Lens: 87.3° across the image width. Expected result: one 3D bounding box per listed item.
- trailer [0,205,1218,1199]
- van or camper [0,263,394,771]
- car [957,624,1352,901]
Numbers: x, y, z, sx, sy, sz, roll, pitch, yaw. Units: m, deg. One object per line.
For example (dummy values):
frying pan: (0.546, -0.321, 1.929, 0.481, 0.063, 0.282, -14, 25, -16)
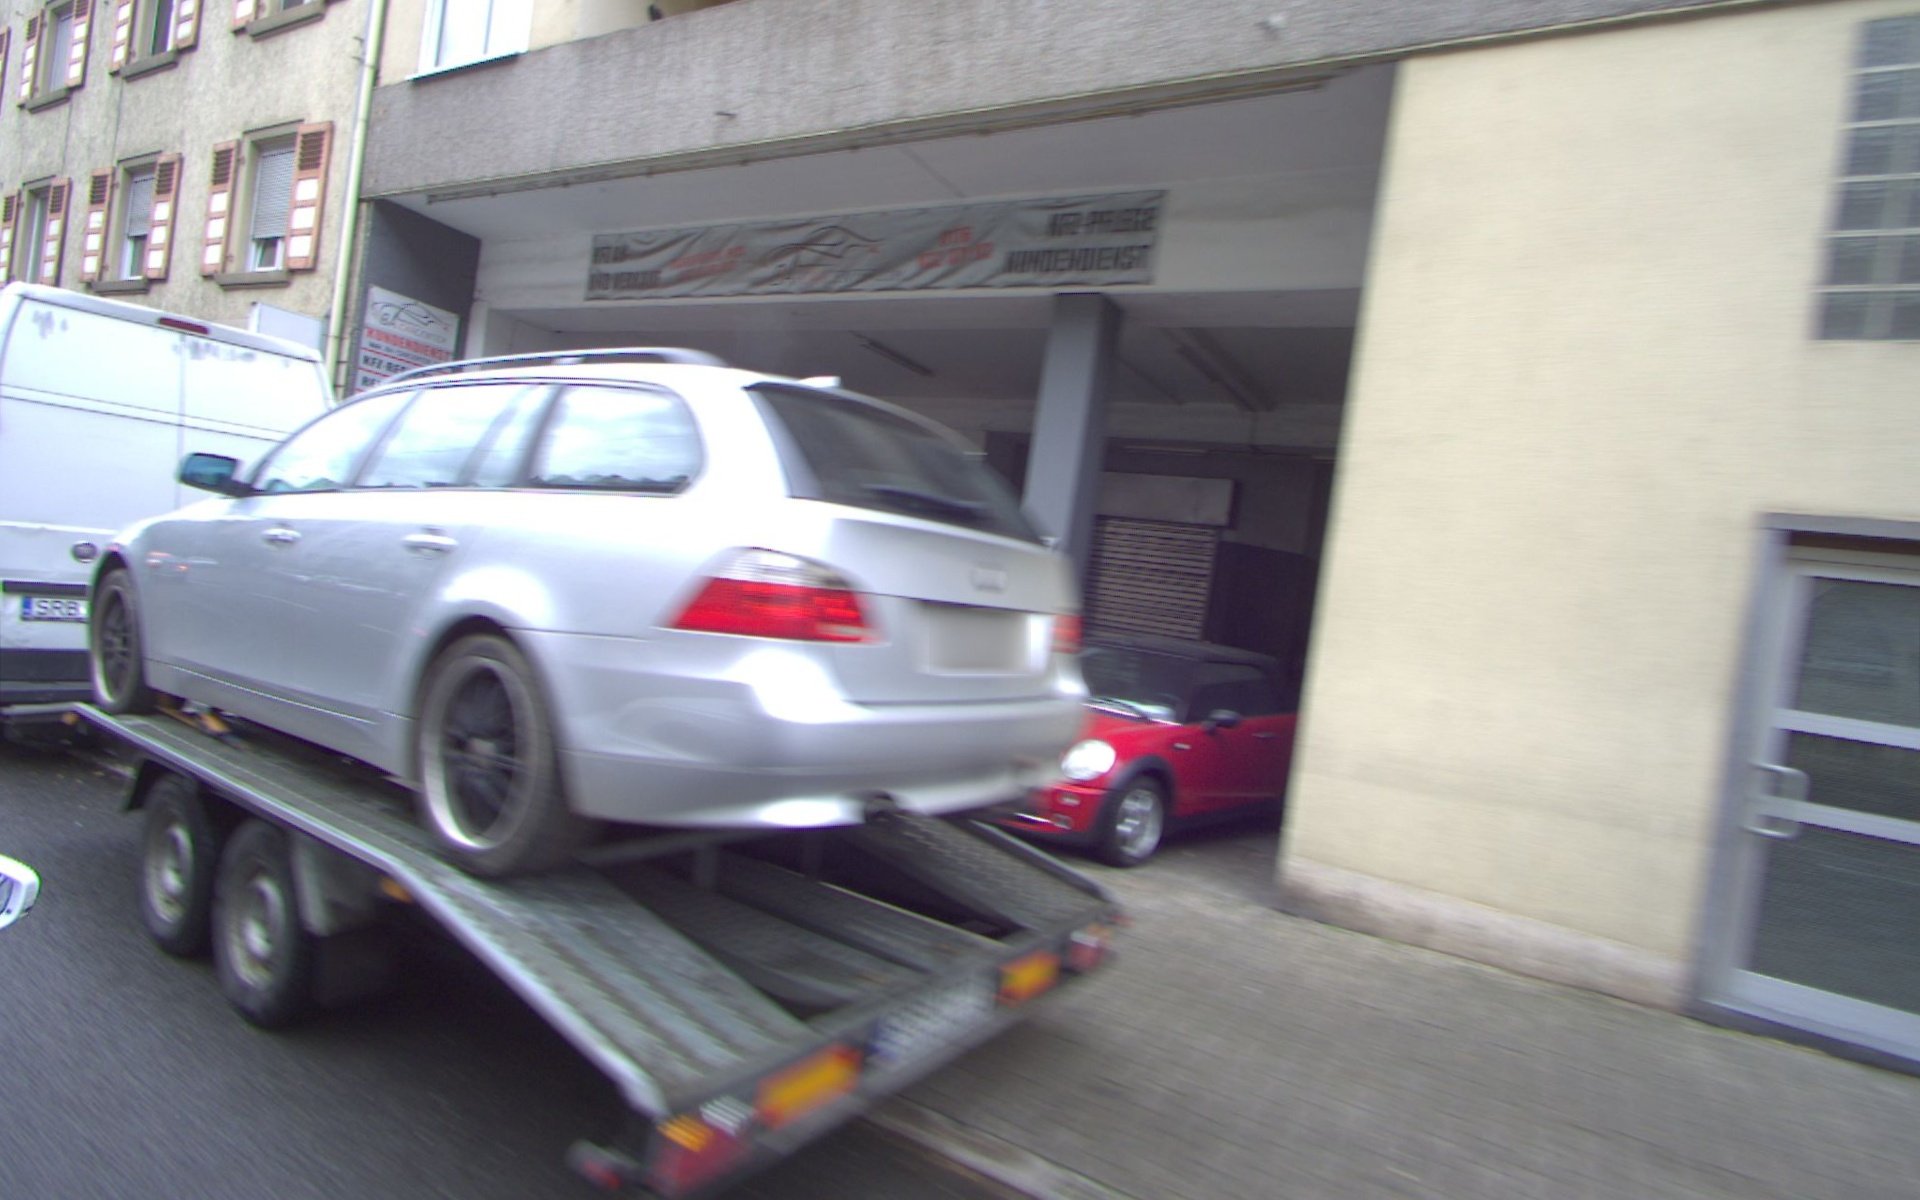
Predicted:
trailer: (-1.862, 0.199, 3.944, 4.990, 2.180, 1.994, 8, 2, 34)
van or camper: (-7.243, -0.658, 8.002, 6.320, 2.733, 2.184, 7, 0, 37)
car: (1.748, 1.034, 7.772, 1.532, 1.409, 3.989, 7, 1, 32)
